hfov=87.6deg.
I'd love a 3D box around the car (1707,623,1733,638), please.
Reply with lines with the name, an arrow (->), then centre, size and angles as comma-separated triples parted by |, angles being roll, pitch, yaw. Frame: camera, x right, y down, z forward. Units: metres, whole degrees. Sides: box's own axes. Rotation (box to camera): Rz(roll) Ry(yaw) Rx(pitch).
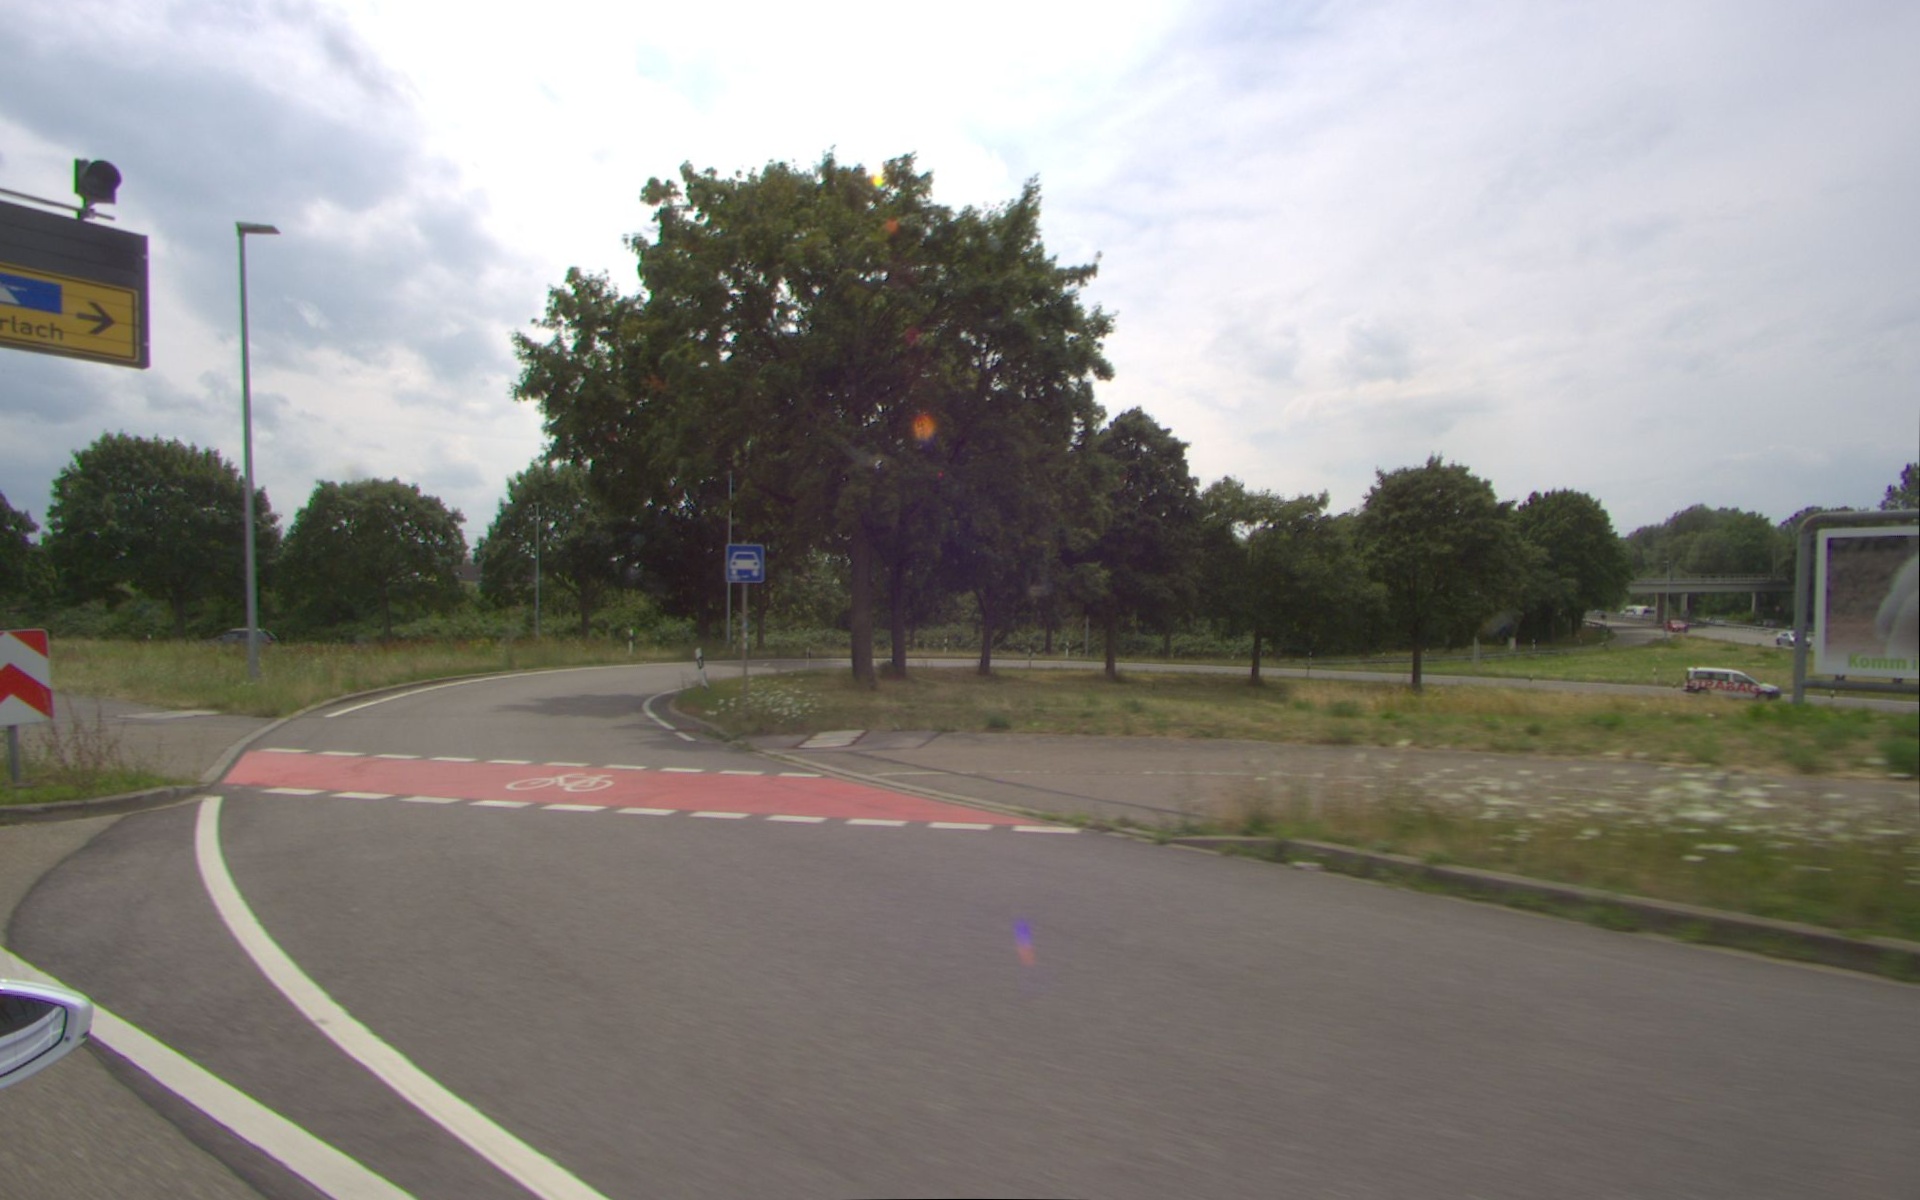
car -> 111.520, 4.406, 146.951 | 1.844, 2.040, 3.992 | 1, 0, 19

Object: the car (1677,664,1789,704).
car -> 47.360, 5.098, 61.514 | 5.174, 2.040, 1.990 | 1, 1, 32

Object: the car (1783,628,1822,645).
car -> 104.690, 4.544, 124.458 | 1.962, 2.039, 4.000 | 1, -2, 11

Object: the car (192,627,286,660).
car -> -39.097, 2.351, 54.417 | 3.943, 1.690, 1.700 | 1, -1, -30
